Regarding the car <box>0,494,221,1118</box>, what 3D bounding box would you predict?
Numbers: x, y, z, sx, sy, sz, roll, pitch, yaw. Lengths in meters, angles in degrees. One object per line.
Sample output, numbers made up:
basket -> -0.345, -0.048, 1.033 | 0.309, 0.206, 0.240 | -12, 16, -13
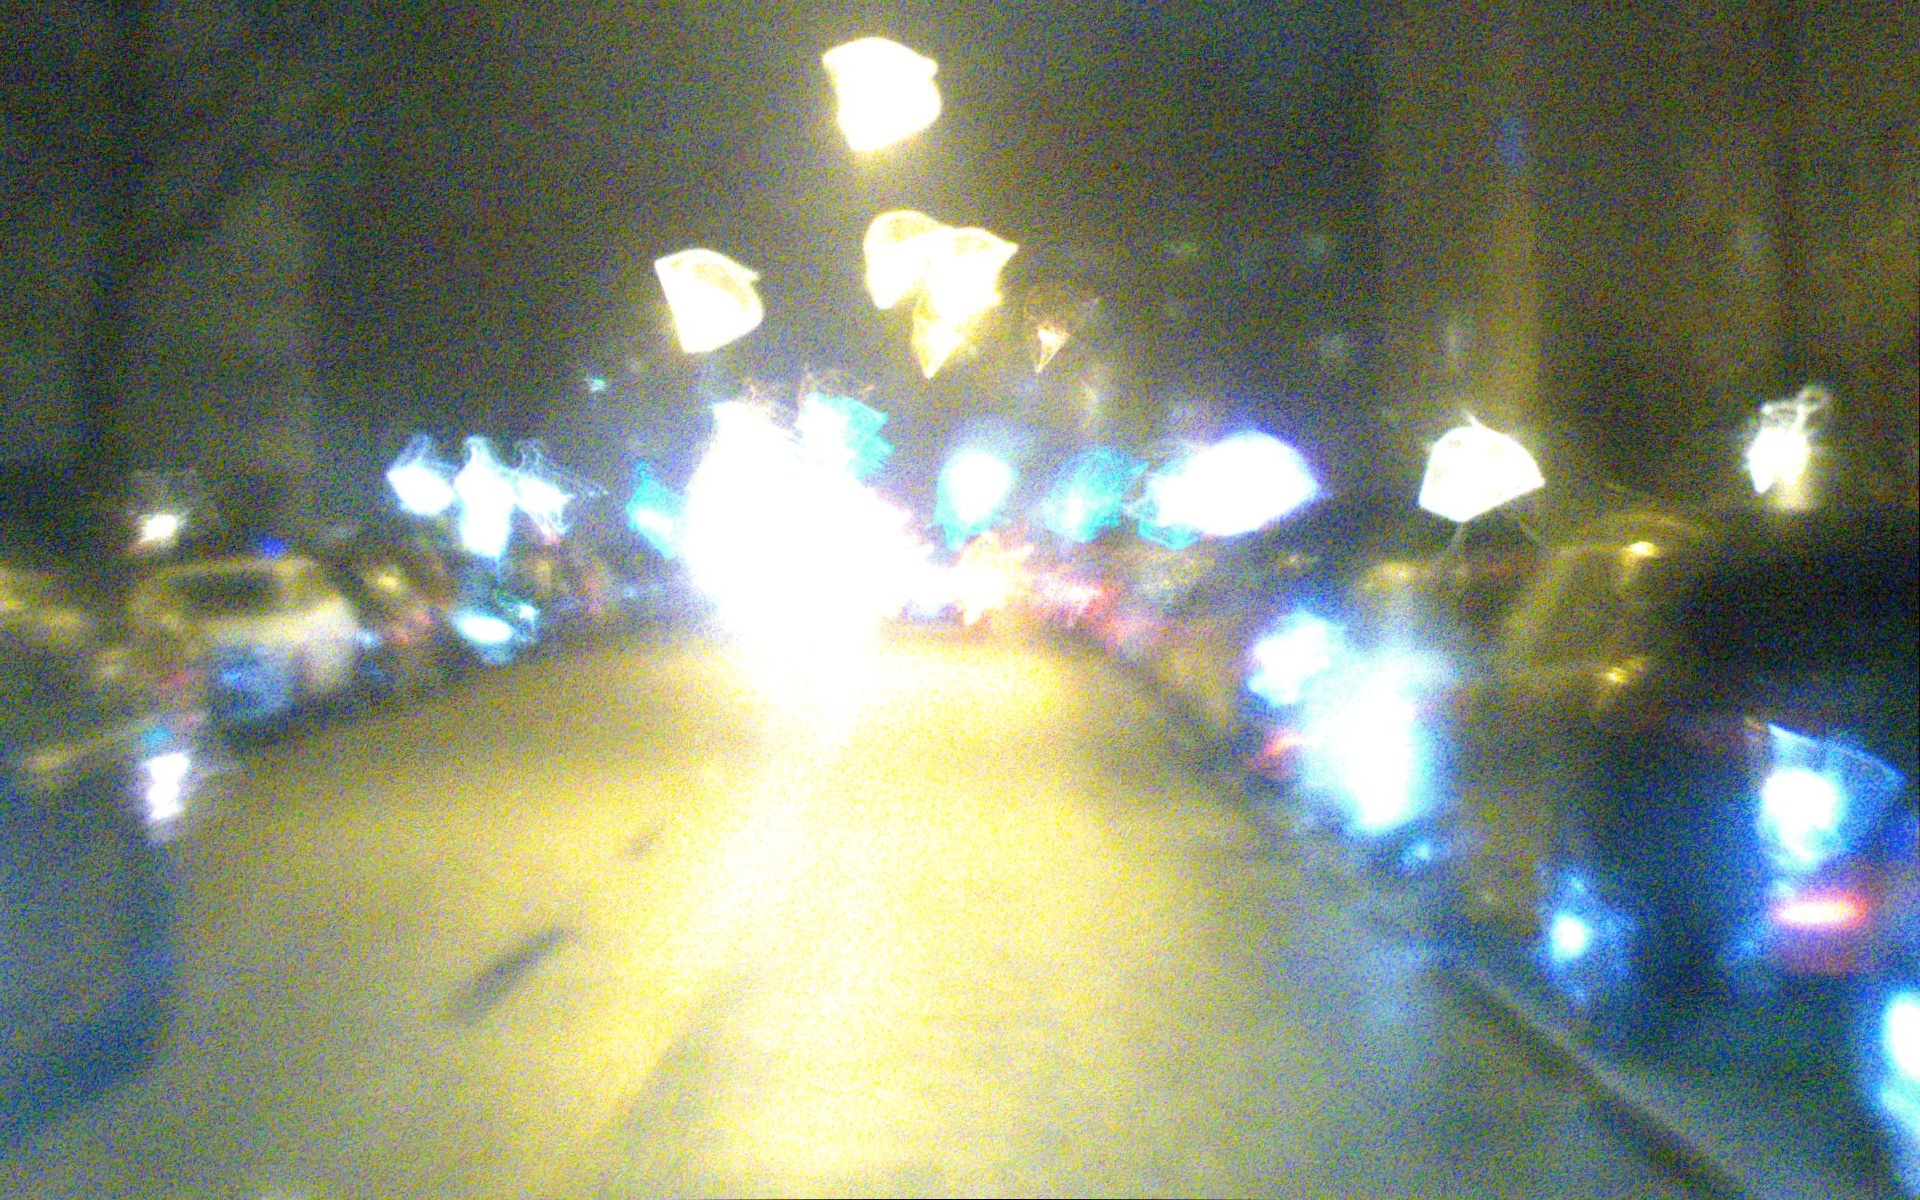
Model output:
car -> -3.239, 0.537, 8.628 | 1.706, 1.534, 4.371 | -2, 1, 1

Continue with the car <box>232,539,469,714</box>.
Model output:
car -> -6.127, 0.212, 34.993 | 1.665, 1.534, 4.391 | -4, 1, -2

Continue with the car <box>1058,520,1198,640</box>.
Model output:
car -> 2.340, -0.324, 48.992 | 1.754, 1.542, 4.978 | -2, 1, 1

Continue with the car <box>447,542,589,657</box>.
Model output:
car -> -6.236, -0.036, 48.752 | 1.431, 1.455, 3.374 | -4, 1, 1

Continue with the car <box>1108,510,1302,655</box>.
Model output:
car -> 2.706, -0.234, 38.829 | 1.674, 1.482, 4.280 | -3, 1, -2

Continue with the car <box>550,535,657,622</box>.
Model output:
car -> -6.536, -0.427, 63.296 | 1.598, 1.426, 4.005 | -4, 1, -2

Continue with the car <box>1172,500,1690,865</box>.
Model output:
car -> 2.219, 0.323, 17.250 | 1.795, 1.542, 3.952 | -3, 1, -3

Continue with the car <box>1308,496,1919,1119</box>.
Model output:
car -> 2.486, 0.478, 11.401 | 1.867, 1.574, 4.748 | -3, 1, -3

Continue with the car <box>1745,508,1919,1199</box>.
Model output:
car -> 2.861, 0.577, 6.075 | 1.795, 1.542, 3.952 | -3, 1, -3

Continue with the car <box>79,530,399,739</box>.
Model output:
car -> -6.127, 0.232, 29.687 | 1.666, 1.534, 4.391 | -4, 1, 1

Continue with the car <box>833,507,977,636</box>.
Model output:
car -> -0.857, -0.498, 56.486 | 2.168, 1.965, 4.302 | -2, 1, 1

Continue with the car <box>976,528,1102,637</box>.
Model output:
car -> 1.260, -0.312, 53.814 | 1.824, 1.542, 4.352 | -2, 1, 2

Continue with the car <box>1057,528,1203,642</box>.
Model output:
car -> 2.097, -0.218, 43.126 | 1.456, 1.301, 3.629 | -3, 1, -2

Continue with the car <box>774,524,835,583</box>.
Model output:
car -> -5.855, -1.756, 128.751 | 2.034, 1.946, 5.201 | -4, 2, -4

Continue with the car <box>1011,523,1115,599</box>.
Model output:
car -> 2.052, -0.816, 69.521 | 1.822, 1.417, 4.489 | -3, 1, -1

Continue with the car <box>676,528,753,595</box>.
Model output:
car -> -6.362, -1.027, 89.455 | 1.598, 1.558, 4.380 | -4, 1, 0

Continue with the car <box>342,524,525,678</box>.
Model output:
car -> -6.161, -0.026, 40.642 | 1.746, 1.592, 4.392 | -4, 1, -5

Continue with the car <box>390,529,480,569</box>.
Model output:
car -> -19.694, -1.935, 129.111 | 1.715, 1.427, 3.915 | -1, 1, 19

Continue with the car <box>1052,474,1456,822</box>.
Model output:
car -> 1.790, 0.215, 22.894 | 1.795, 1.943, 5.855 | -3, 1, -3
